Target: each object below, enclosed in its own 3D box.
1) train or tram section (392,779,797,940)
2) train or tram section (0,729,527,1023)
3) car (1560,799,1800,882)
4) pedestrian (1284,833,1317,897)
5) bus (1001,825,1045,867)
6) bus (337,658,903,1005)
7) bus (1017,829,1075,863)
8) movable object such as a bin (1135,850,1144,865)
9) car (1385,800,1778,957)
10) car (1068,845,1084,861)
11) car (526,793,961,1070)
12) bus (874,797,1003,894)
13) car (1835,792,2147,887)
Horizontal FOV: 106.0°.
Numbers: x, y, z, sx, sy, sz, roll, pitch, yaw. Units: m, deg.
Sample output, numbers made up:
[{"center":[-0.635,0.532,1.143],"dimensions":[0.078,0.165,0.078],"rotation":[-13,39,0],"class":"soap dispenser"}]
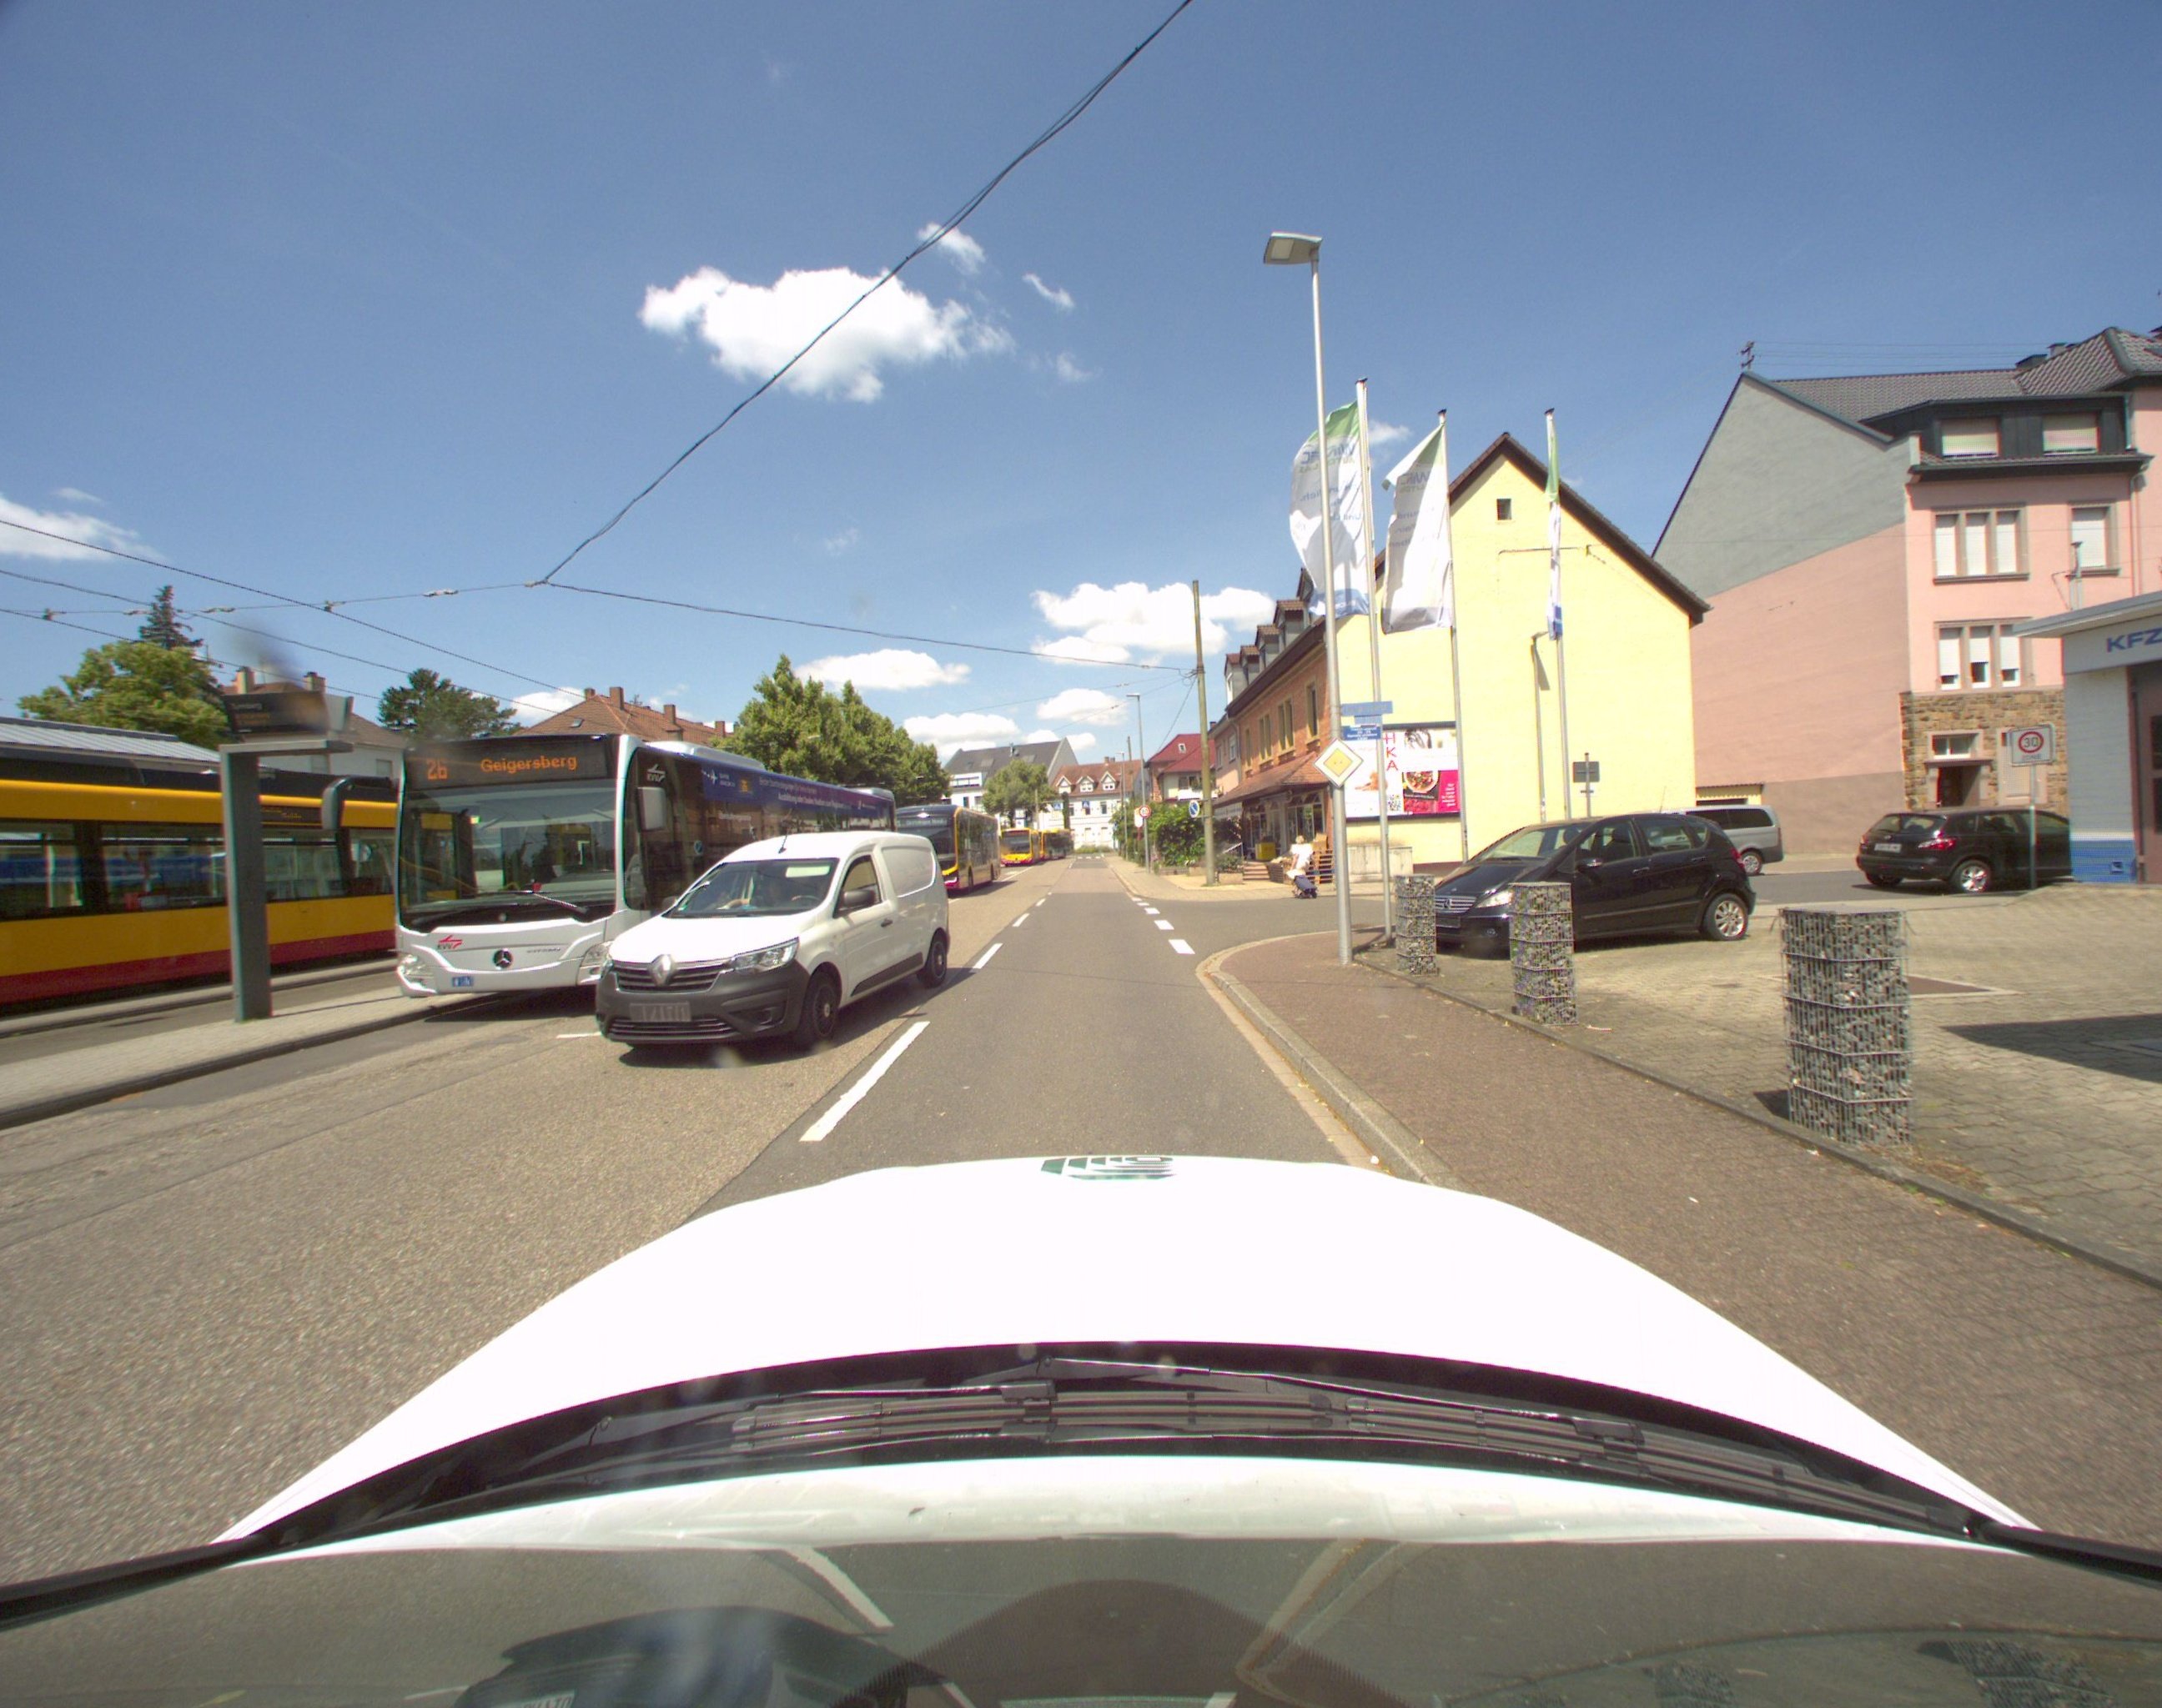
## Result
[{"center":[-14.140,0.079,27.297],"dimensions":[2.953,3.642,17.353],"rotation":[-1,0,1],"class":"train or tram section"},{"center":[-14.305,0.265,12.387],"dimensions":[2.953,3.495,12.658],"rotation":[-1,0,1],"class":"train or tram section"},{"center":[15.801,-0.354,21.646],"dimensions":[5.043,1.861,1.906],"rotation":[-3,0,-3],"class":"car"},{"center":[5.875,0.285,21.754],"dimensions":[0.699,1.641,0.663],"rotation":[-3,2,21],"class":"pedestrian"},{"center":[-4.810,-0.632,69.918],"dimensions":[2.898,3.248,12.117],"rotation":[-1,0,0],"class":"bus"},{"center":[-5.910,-0.159,14.133],"dimensions":[2.898,3.427,12.038],"rotation":[-1,-1,0],"class":"bus"},{"center":[-3.394,-0.962,83.401],"dimensions":[2.761,3.208,12.349],"rotation":[-1,1,12],"class":"bus"},{"center":[3.626,0.224,50.716],"dimensions":[0.405,0.907,0.729],"rotation":[-6,-1,-3],"class":"movable object such as a bin"},{"center":[6.011,0.241,9.967],"dimensions":[3.880,1.543,1.834],"rotation":[-3,0,-13],"class":"car"},{"center":[-0.610,-0.135,106.535],"dimensions":[1.986,2.014,4.001],"rotation":[-1,-1,1],"class":"car"},{"center":[-2.677,0.556,7.889],"dimensions":[1.694,1.851,4.723],"rotation":[-1,-1,8],"class":"car"},{"center":[-5.417,-0.210,33.673],"dimensions":[2.888,3.247,12.198],"rotation":[-1,-1,1],"class":"bus"},{"center":[17.438,-0.259,15.780],"dimensions":[3.861,1.543,1.843],"rotation":[-3,0,2],"class":"car"}]
